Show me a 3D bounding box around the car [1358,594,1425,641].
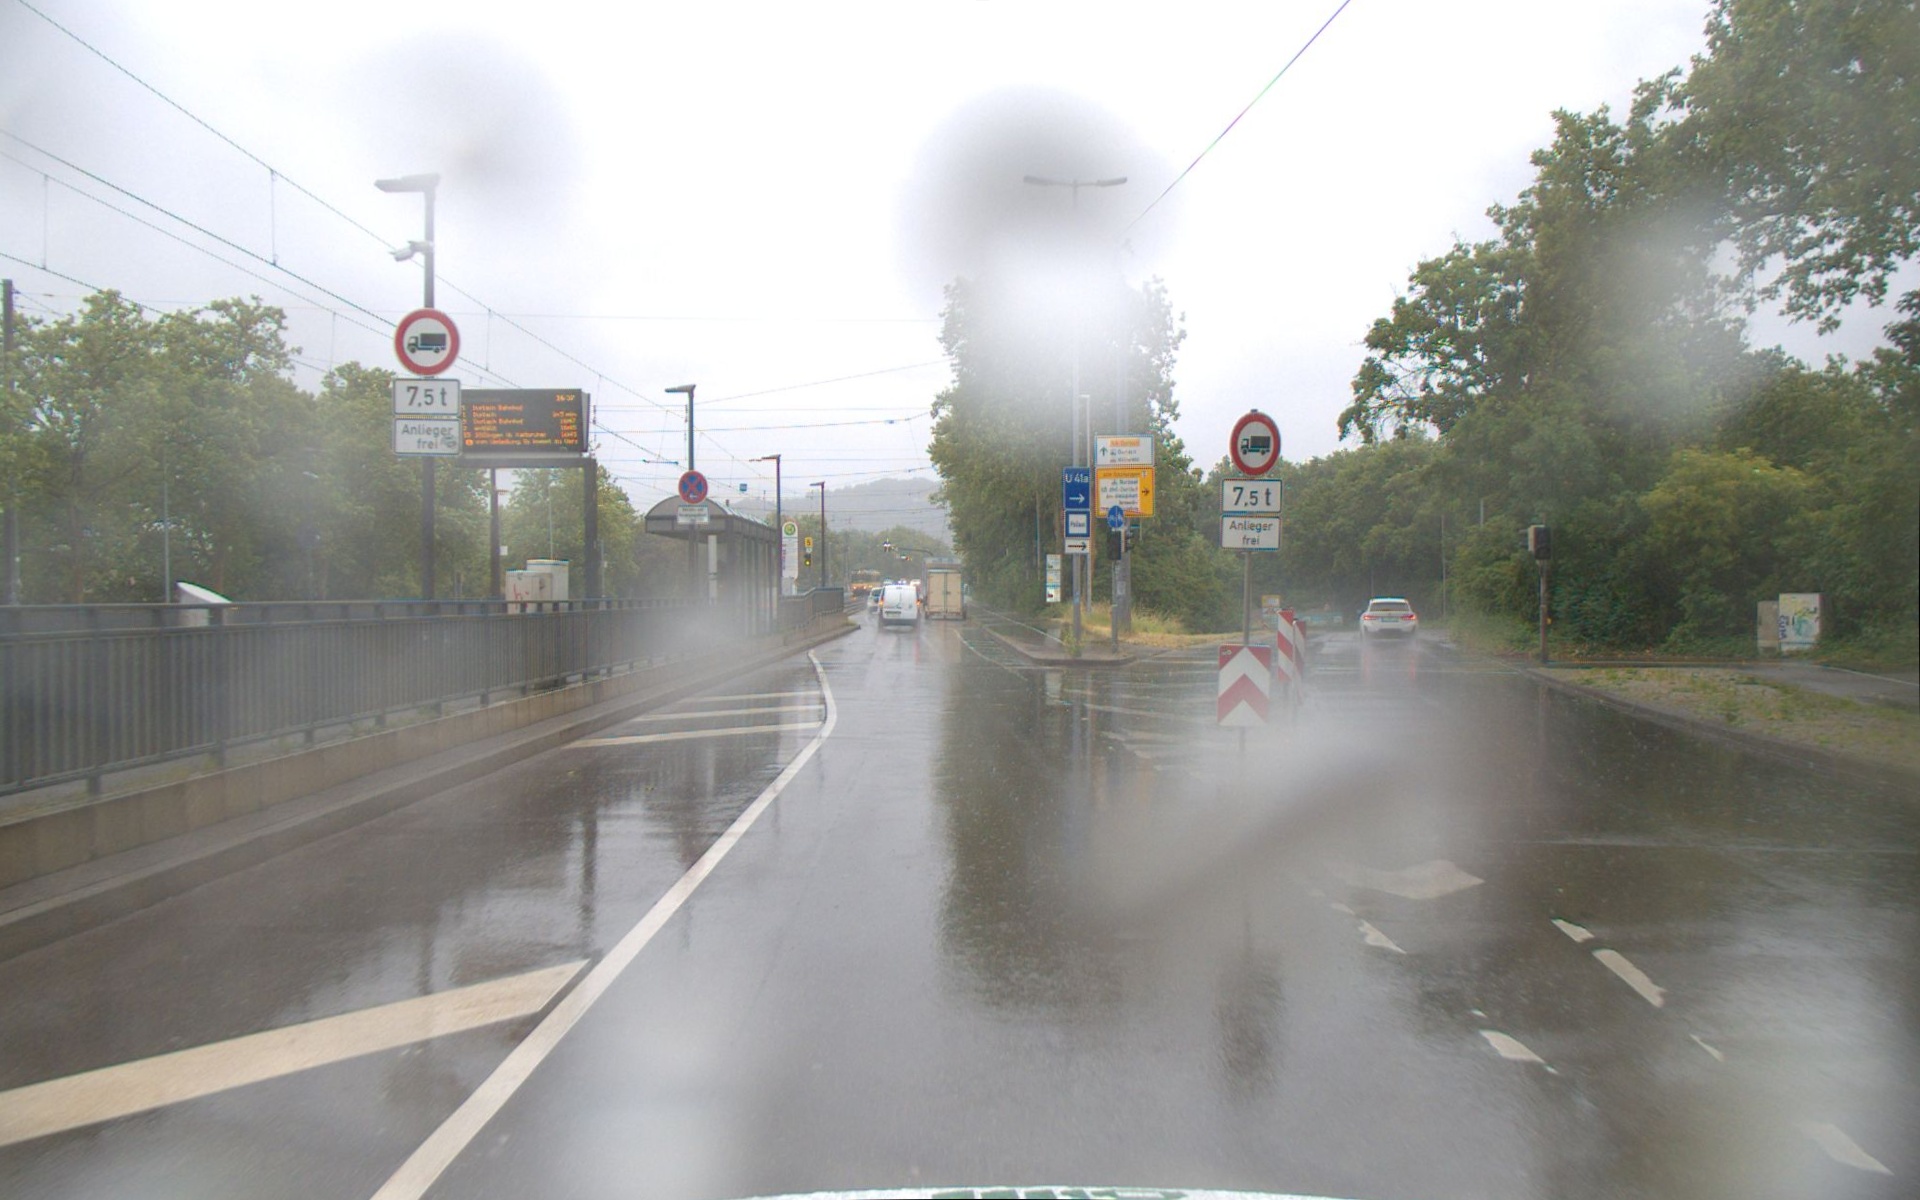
[{"bbox_3d":[13.974,0.545,53.754,1.848,1.456,4.004,0,0,11],"label":"car"}]

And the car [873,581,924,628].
[{"bbox_3d":[-2.554,0.159,68.121,1.954,1.881,3.996,0,0,-4],"label":"car"}]

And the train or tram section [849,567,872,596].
[{"bbox_3d":[-14.883,-2.761,247.719,2.749,4.222,13.017,0,0,-1],"label":"train or tram section"}]

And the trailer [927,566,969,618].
[{"bbox_3d":[-0.636,-0.414,91.795,2.121,2.806,5.677,0,0,1],"label":"trailer"}]

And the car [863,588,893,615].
[{"bbox_3d":[-5.078,0.096,103.226,1.750,1.671,3.967,0,0,-1],"label":"car"}]

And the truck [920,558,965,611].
[{"bbox_3d":[-1.374,-1.111,122.939,2.721,3.769,9.843,0,0,-4],"label":"truck"}]
